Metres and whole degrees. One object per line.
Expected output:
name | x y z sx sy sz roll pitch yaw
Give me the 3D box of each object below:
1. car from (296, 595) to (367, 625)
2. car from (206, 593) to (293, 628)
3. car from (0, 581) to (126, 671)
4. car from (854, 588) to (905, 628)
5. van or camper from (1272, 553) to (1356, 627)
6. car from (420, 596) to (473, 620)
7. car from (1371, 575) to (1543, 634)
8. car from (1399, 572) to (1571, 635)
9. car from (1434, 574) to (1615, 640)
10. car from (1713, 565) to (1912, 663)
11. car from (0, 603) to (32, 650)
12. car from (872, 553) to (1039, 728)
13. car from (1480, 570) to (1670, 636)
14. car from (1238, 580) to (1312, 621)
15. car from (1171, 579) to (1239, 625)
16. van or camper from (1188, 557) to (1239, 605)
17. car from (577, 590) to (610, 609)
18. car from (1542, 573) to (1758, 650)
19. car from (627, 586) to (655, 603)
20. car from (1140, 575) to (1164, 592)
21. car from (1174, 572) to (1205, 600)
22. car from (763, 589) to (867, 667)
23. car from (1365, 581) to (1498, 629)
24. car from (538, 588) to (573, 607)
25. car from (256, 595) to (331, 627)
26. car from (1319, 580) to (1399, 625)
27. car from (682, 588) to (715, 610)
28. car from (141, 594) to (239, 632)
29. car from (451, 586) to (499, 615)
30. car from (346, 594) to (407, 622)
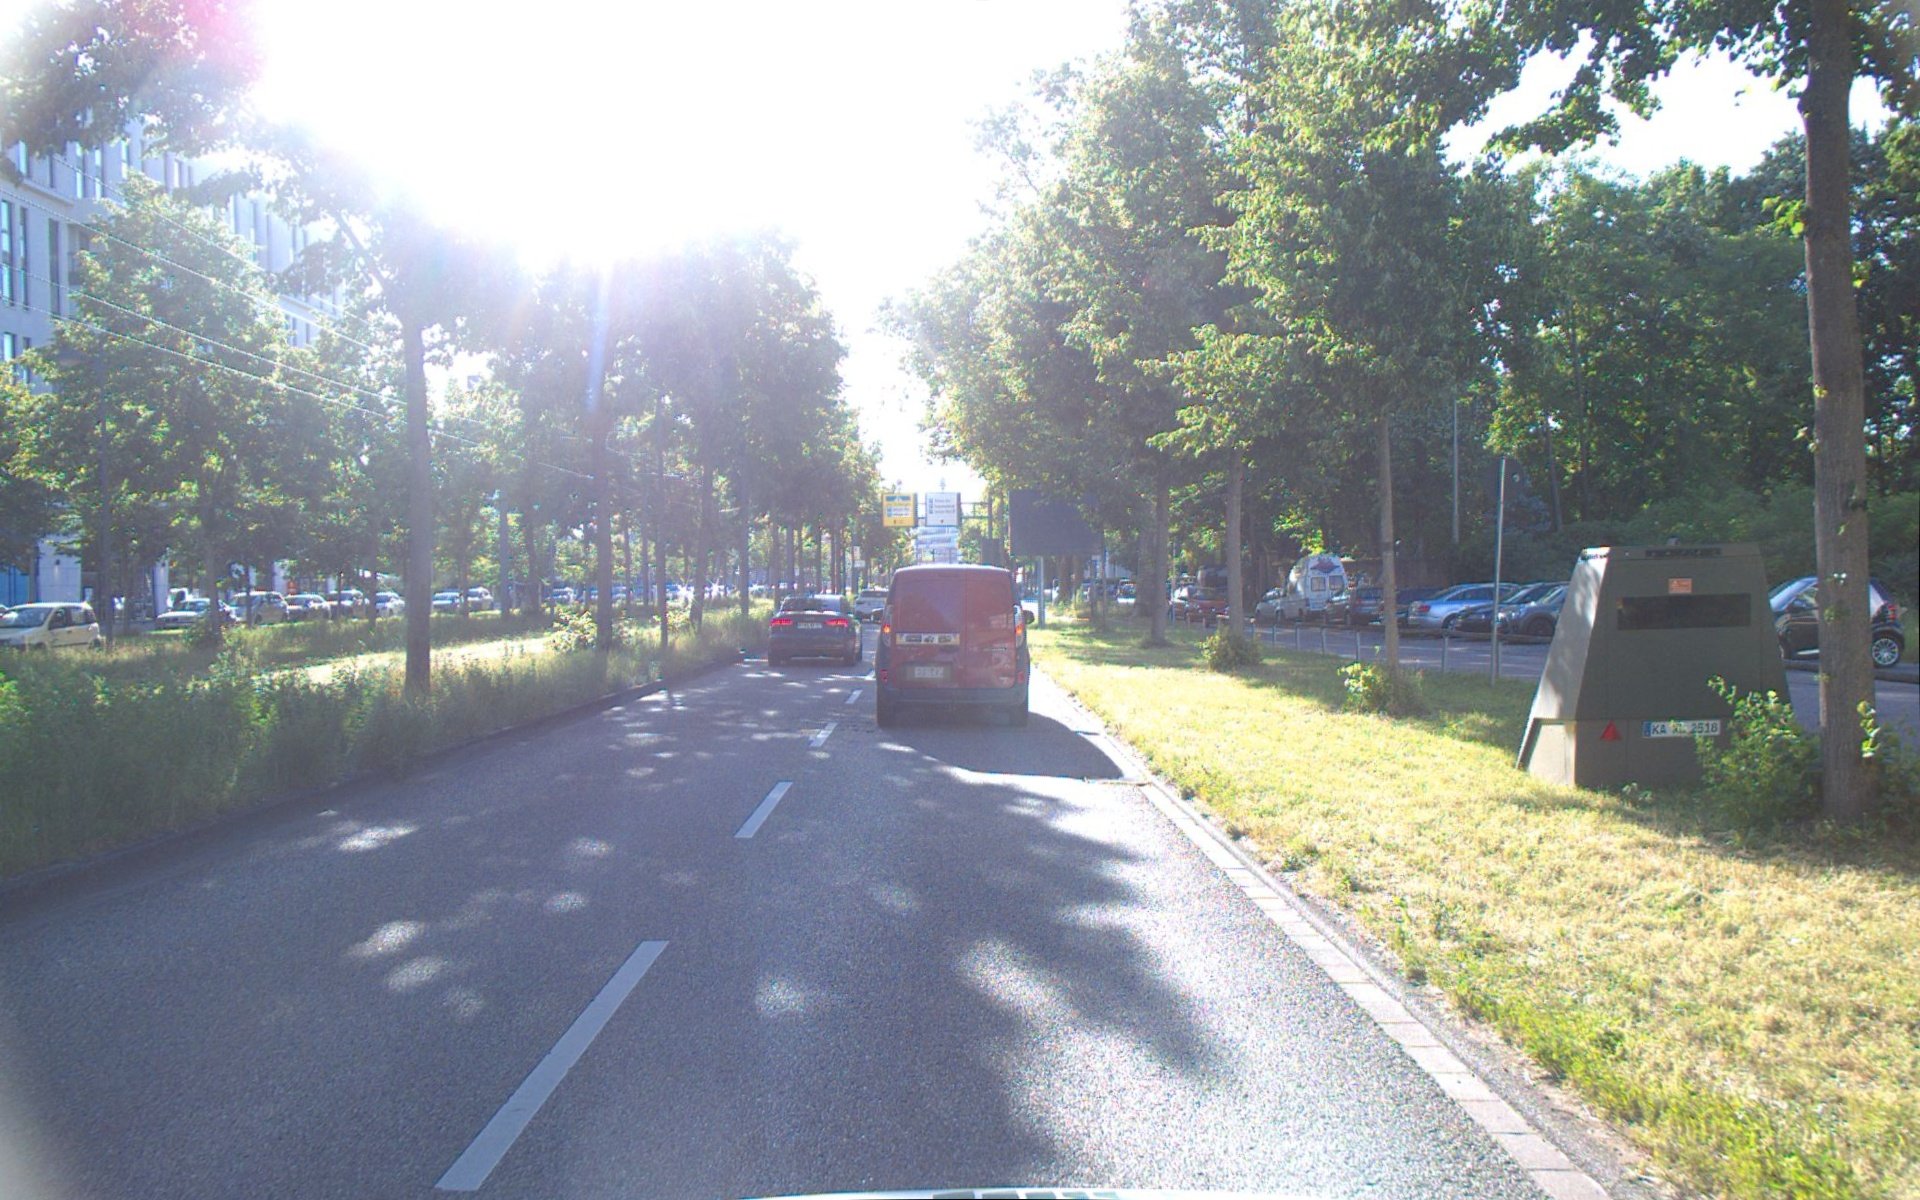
car | -32.095 0.479 84.581 1.954 1.466 4.934 1 0 -3
car | -31.492 0.444 73.418 1.953 1.466 4.455 1 0 -1
car | -22.174 0.573 39.895 1.952 2.049 4.001 1 0 2
car | -3.366 0.327 70.057 1.953 1.646 4.000 1 0 0
van or camper | 14.365 -0.393 67.369 1.954 2.778 4.961 -3 0 -3
car | -31.733 0.480 102.371 1.918 1.466 4.265 1 0 0
car | 15.212 0.128 50.794 4.624 1.430 2.000 -4 0 0
car | 15.136 0.095 47.872 4.290 1.435 2.001 -5 0 2
car | 15.392 0.168 45.210 4.243 1.503 1.905 -3 2 -4
car | 14.757 0.248 28.751 2.707 1.577 1.463 -2 0 8
car | -31.402 0.852 51.921 1.954 1.466 4.922 1 0 -3
car | -0.149 0.432 19.920 1.773 1.870 3.997 1 0 -3
car | 15.496 0.074 41.797 4.108 1.524 1.781 -2 0 -4
car | 13.963 0.011 73.462 1.807 1.645 3.989 -4 1 -11
car | 9.213 0.068 62.436 1.952 1.668 4.000 1 0 0
van or camper | 15.694 -1.186 102.618 2.503 2.730 6.568 -3 1 4
car | -32.799 -0.013 147.984 1.840 1.649 4.611 1 0 0
car | 15.153 0.241 36.447 3.996 1.493 1.715 -2 0 0
car | -32.735 -0.551 169.678 1.952 1.636 4.611 1 0 0
car | 19.258 -1.621 165.669 1.952 1.668 4.000 1 0 1
car | 17.460 -1.070 126.132 2.043 2.049 4.945 0 0 4
car | -2.874 0.531 33.537 1.755 1.453 4.000 1 0 0
car | 15.736 0.157 55.267 3.911 1.531 1.763 -1 0 -7
car | -32.765 -0.213 134.076 1.841 1.460 4.609 -1 0 -2
car | -31.704 0.495 78.783 1.954 1.466 4.453 1 0 -3
car | 14.782 0.076 61.473 1.953 1.601 3.999 1 0 -1
car | -21.267 -0.056 134.680 1.953 1.715 5.109 1 0 -1
car | -31.527 0.520 67.885 1.954 1.466 4.776 1 0 -3
car | -31.963 0.031 109.111 1.954 1.803 4.774 1 0 -3
car | -32.199 0.433 91.391 1.954 1.466 4.453 1 0 -3
